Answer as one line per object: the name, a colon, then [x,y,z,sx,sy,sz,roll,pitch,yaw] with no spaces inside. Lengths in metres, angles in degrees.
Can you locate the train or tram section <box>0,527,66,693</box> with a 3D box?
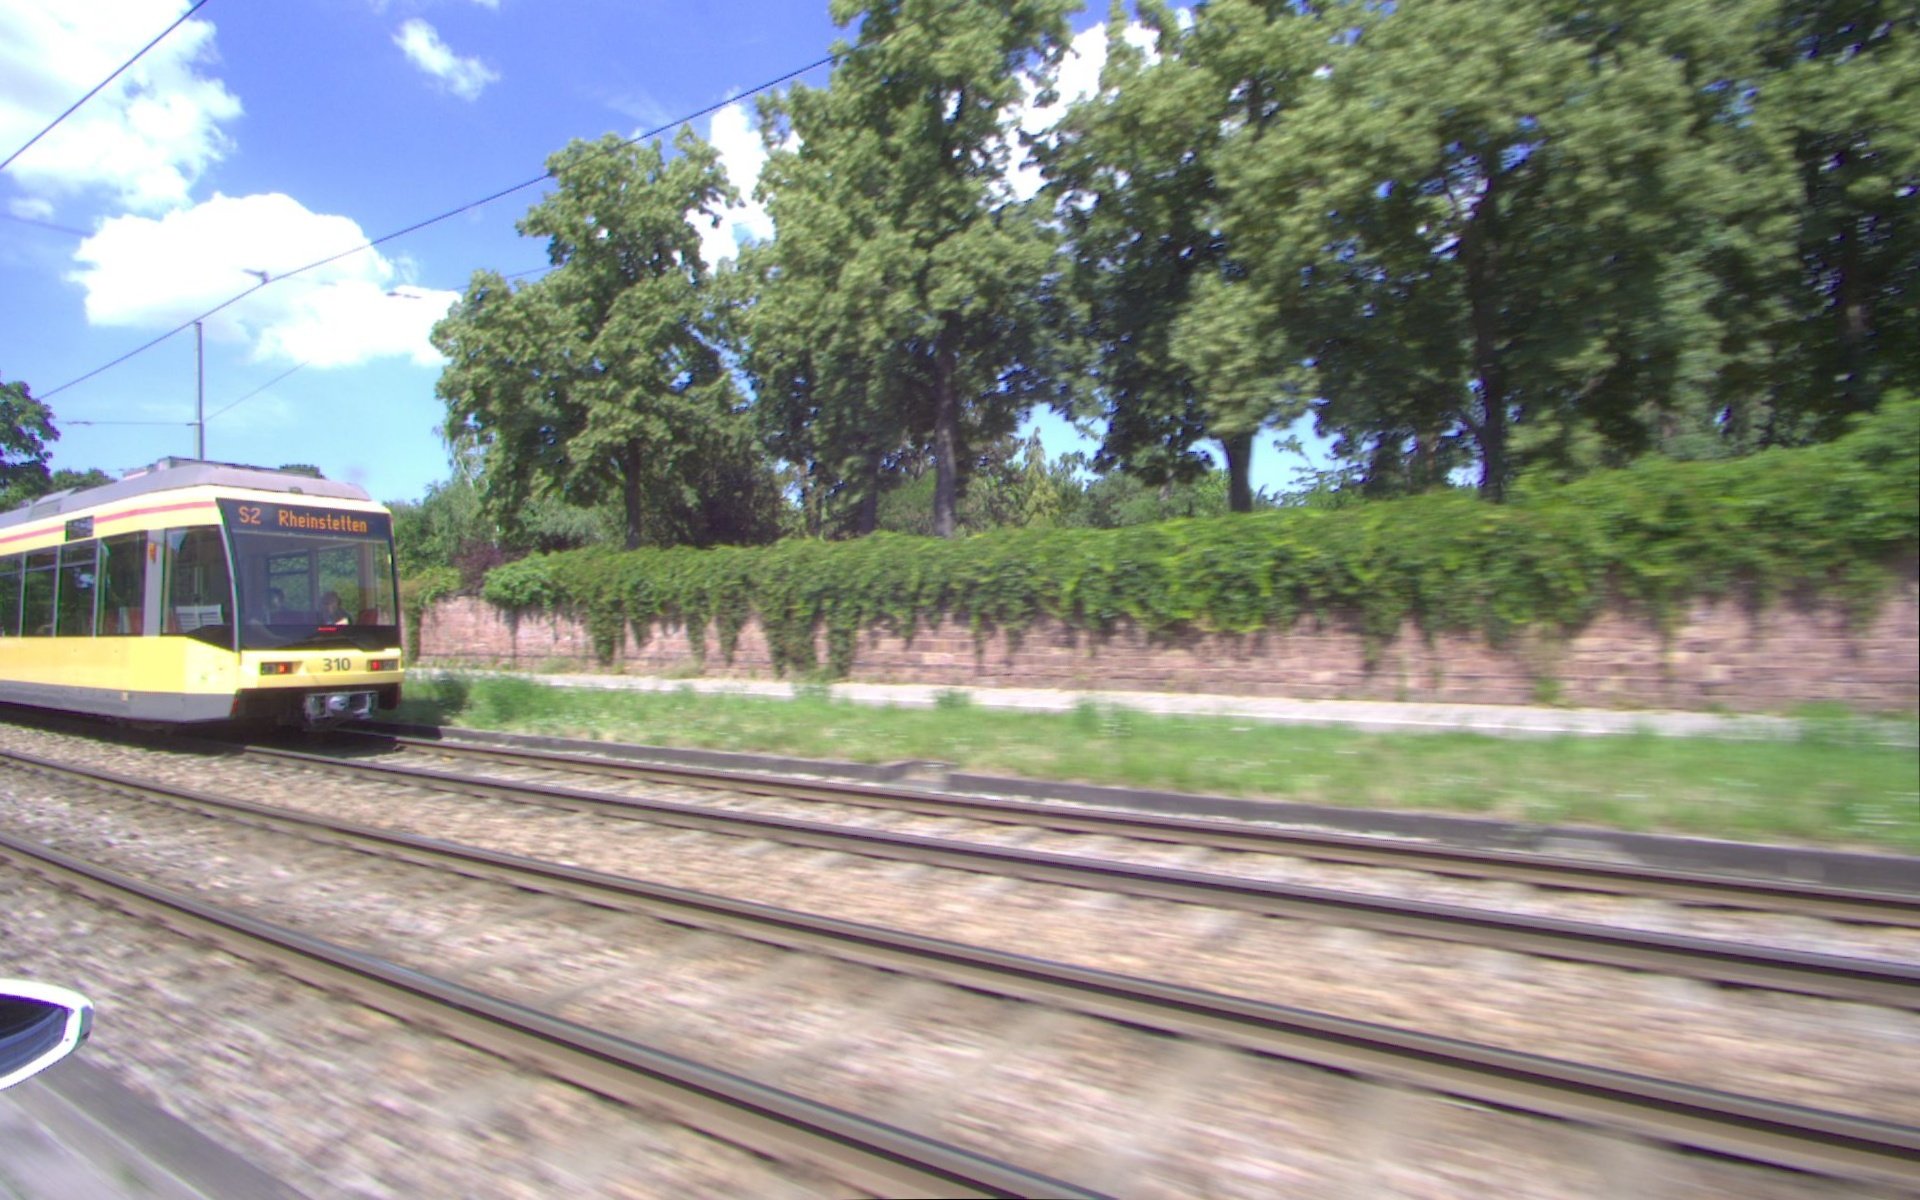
train or tram section: [-29.893,0.380,28.211,20.019,3.739,2.935,-1,-2,36]

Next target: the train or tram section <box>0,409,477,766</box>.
train or tram section: [-14.480,0.057,16.969,18.143,3.739,2.936,-1,-2,35]
